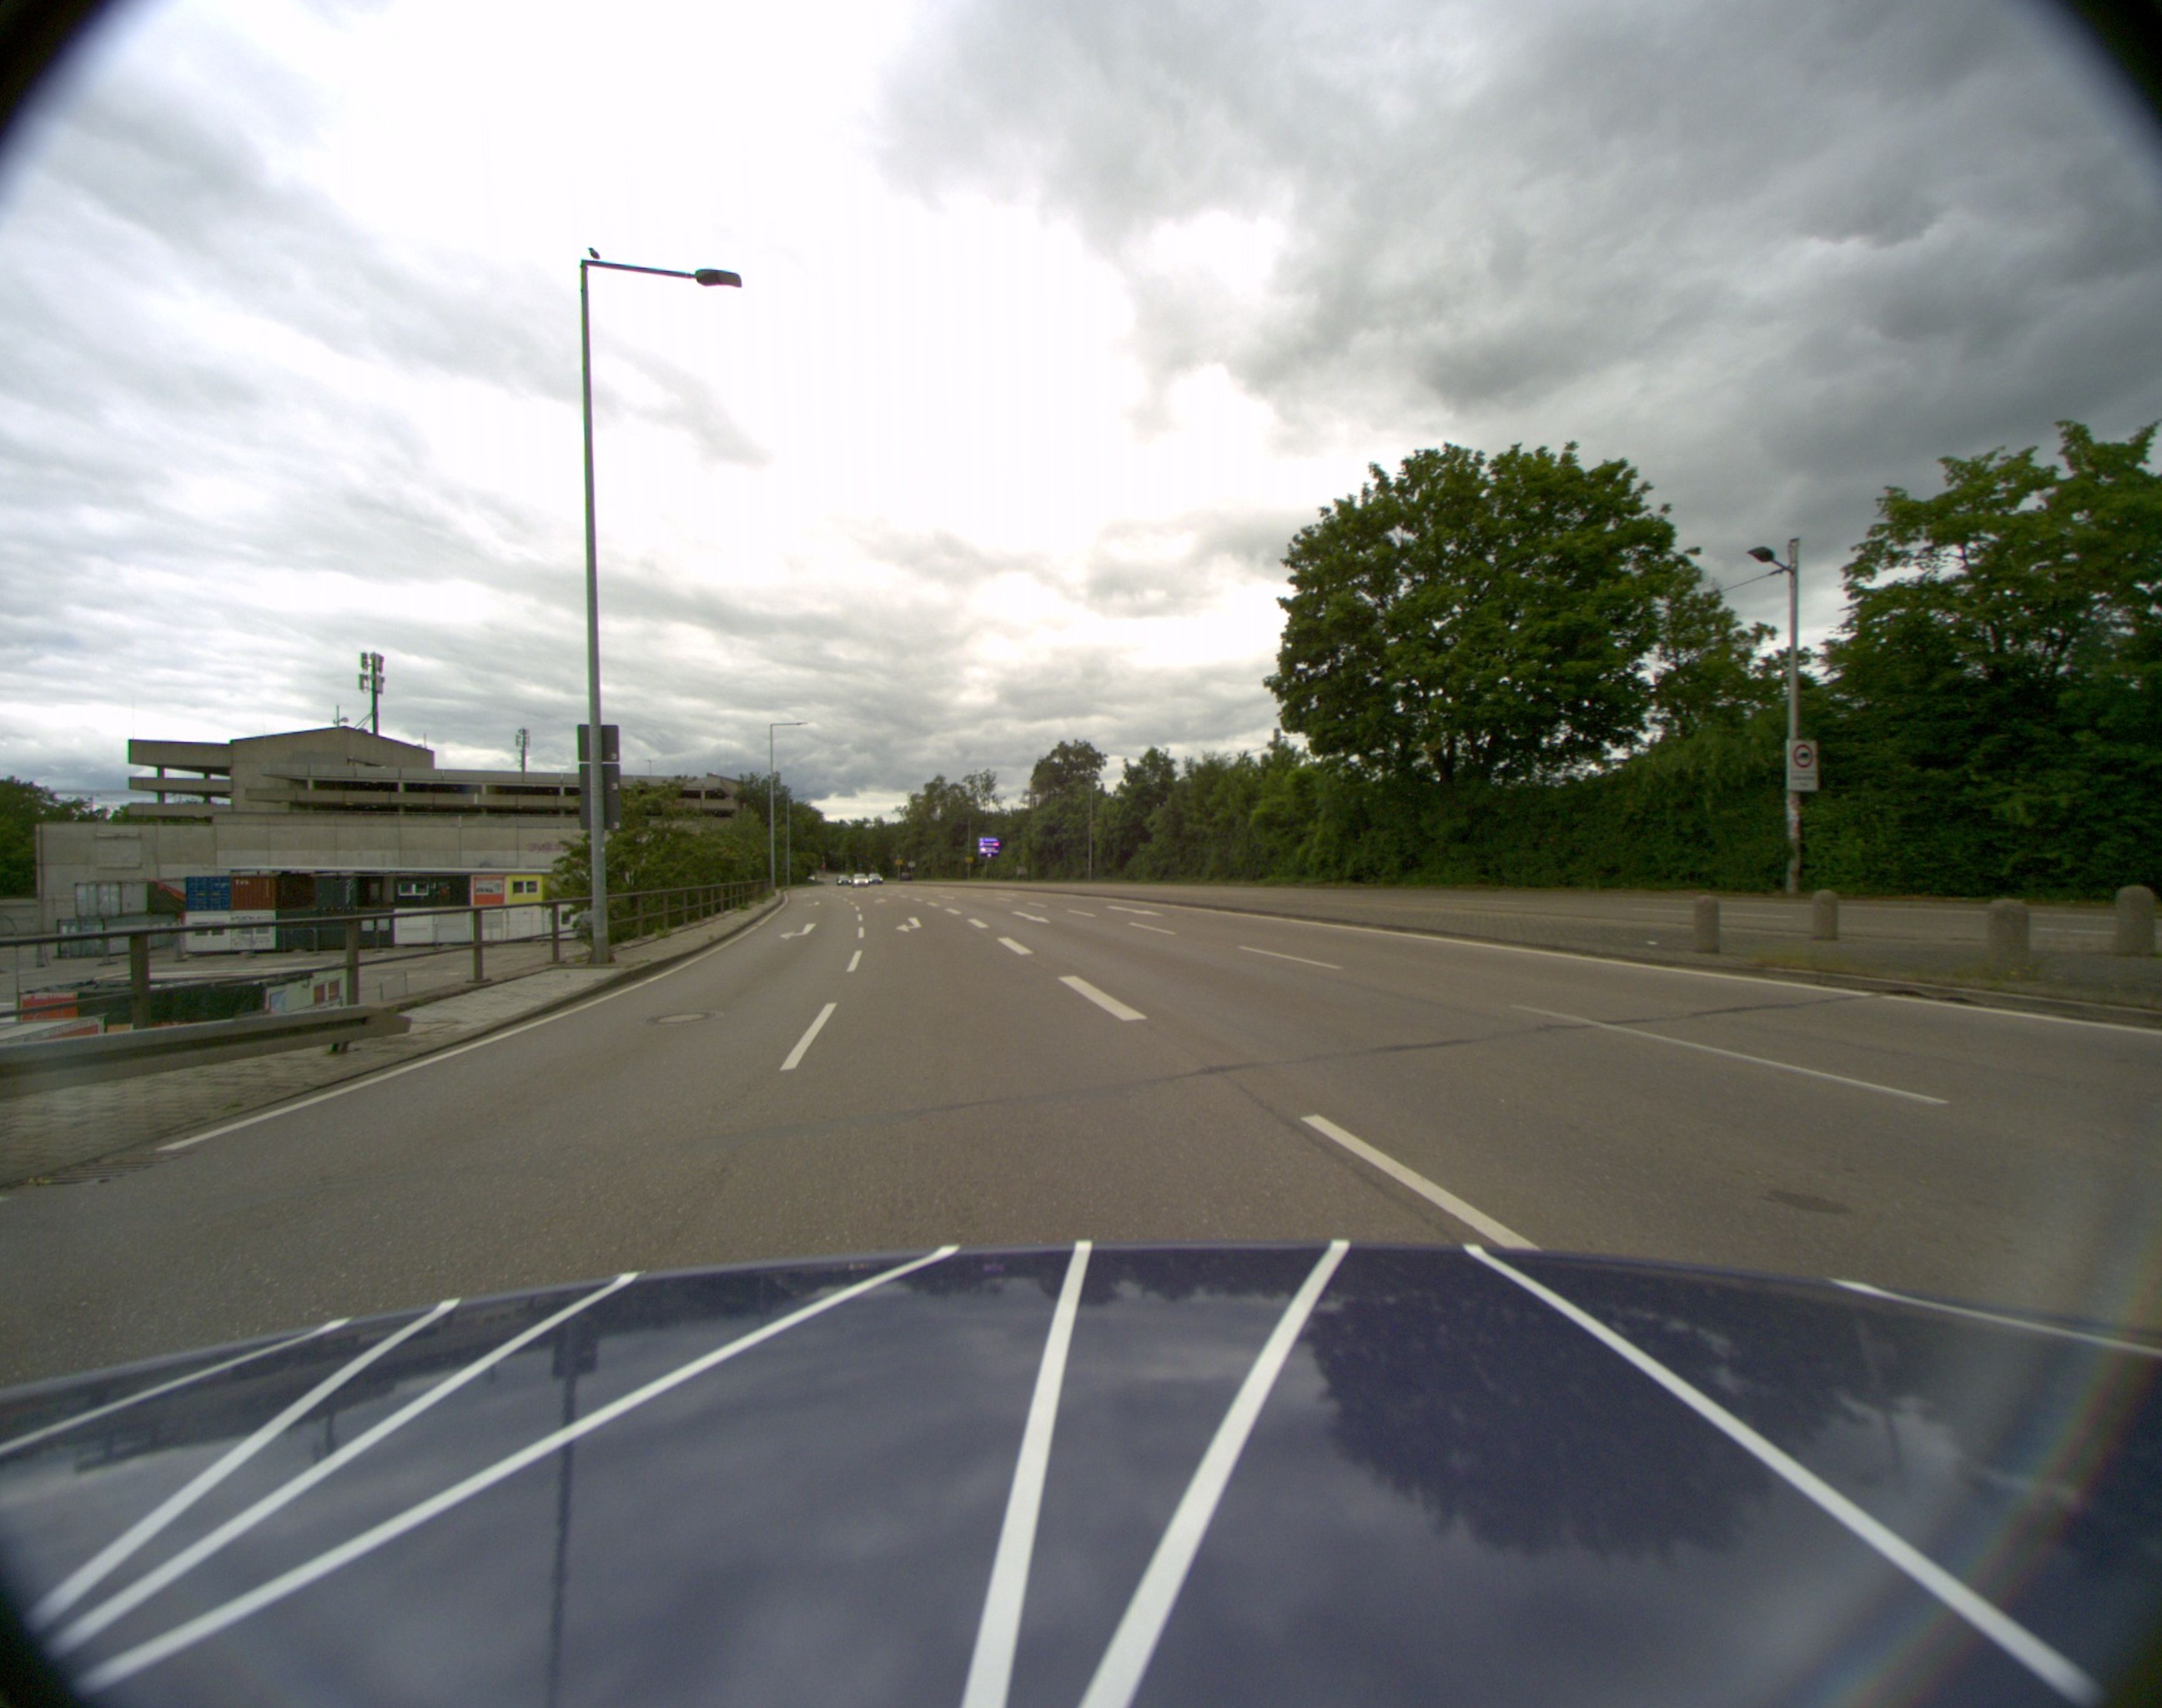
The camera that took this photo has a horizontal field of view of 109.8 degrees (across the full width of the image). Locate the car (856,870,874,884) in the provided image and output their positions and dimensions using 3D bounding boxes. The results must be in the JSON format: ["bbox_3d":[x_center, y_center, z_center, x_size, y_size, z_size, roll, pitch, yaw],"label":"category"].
[{"bbox_3d":[-23.973,2.558,84.222,1.612,1.408,3.585,-2,0,-20],"label":"car"}]

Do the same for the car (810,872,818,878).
[{"bbox_3d":[-70.407,5.611,200.074,1.868,1.408,4.331,-2,0,-20],"label":"car"}]

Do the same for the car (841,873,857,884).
[{"bbox_3d":[-32.697,3.397,107.021,1.867,1.408,4.331,-2,0,-20],"label":"car"}]

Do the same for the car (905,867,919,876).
[{"bbox_3d":[-28.333,2.952,127.603,1.706,1.455,3.993,-3,0,-20],"label":"car"}]

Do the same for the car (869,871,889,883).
[{"bbox_3d":[-26.061,2.924,98.101,1.845,1.408,4.572,-2,0,-22],"label":"car"}]
